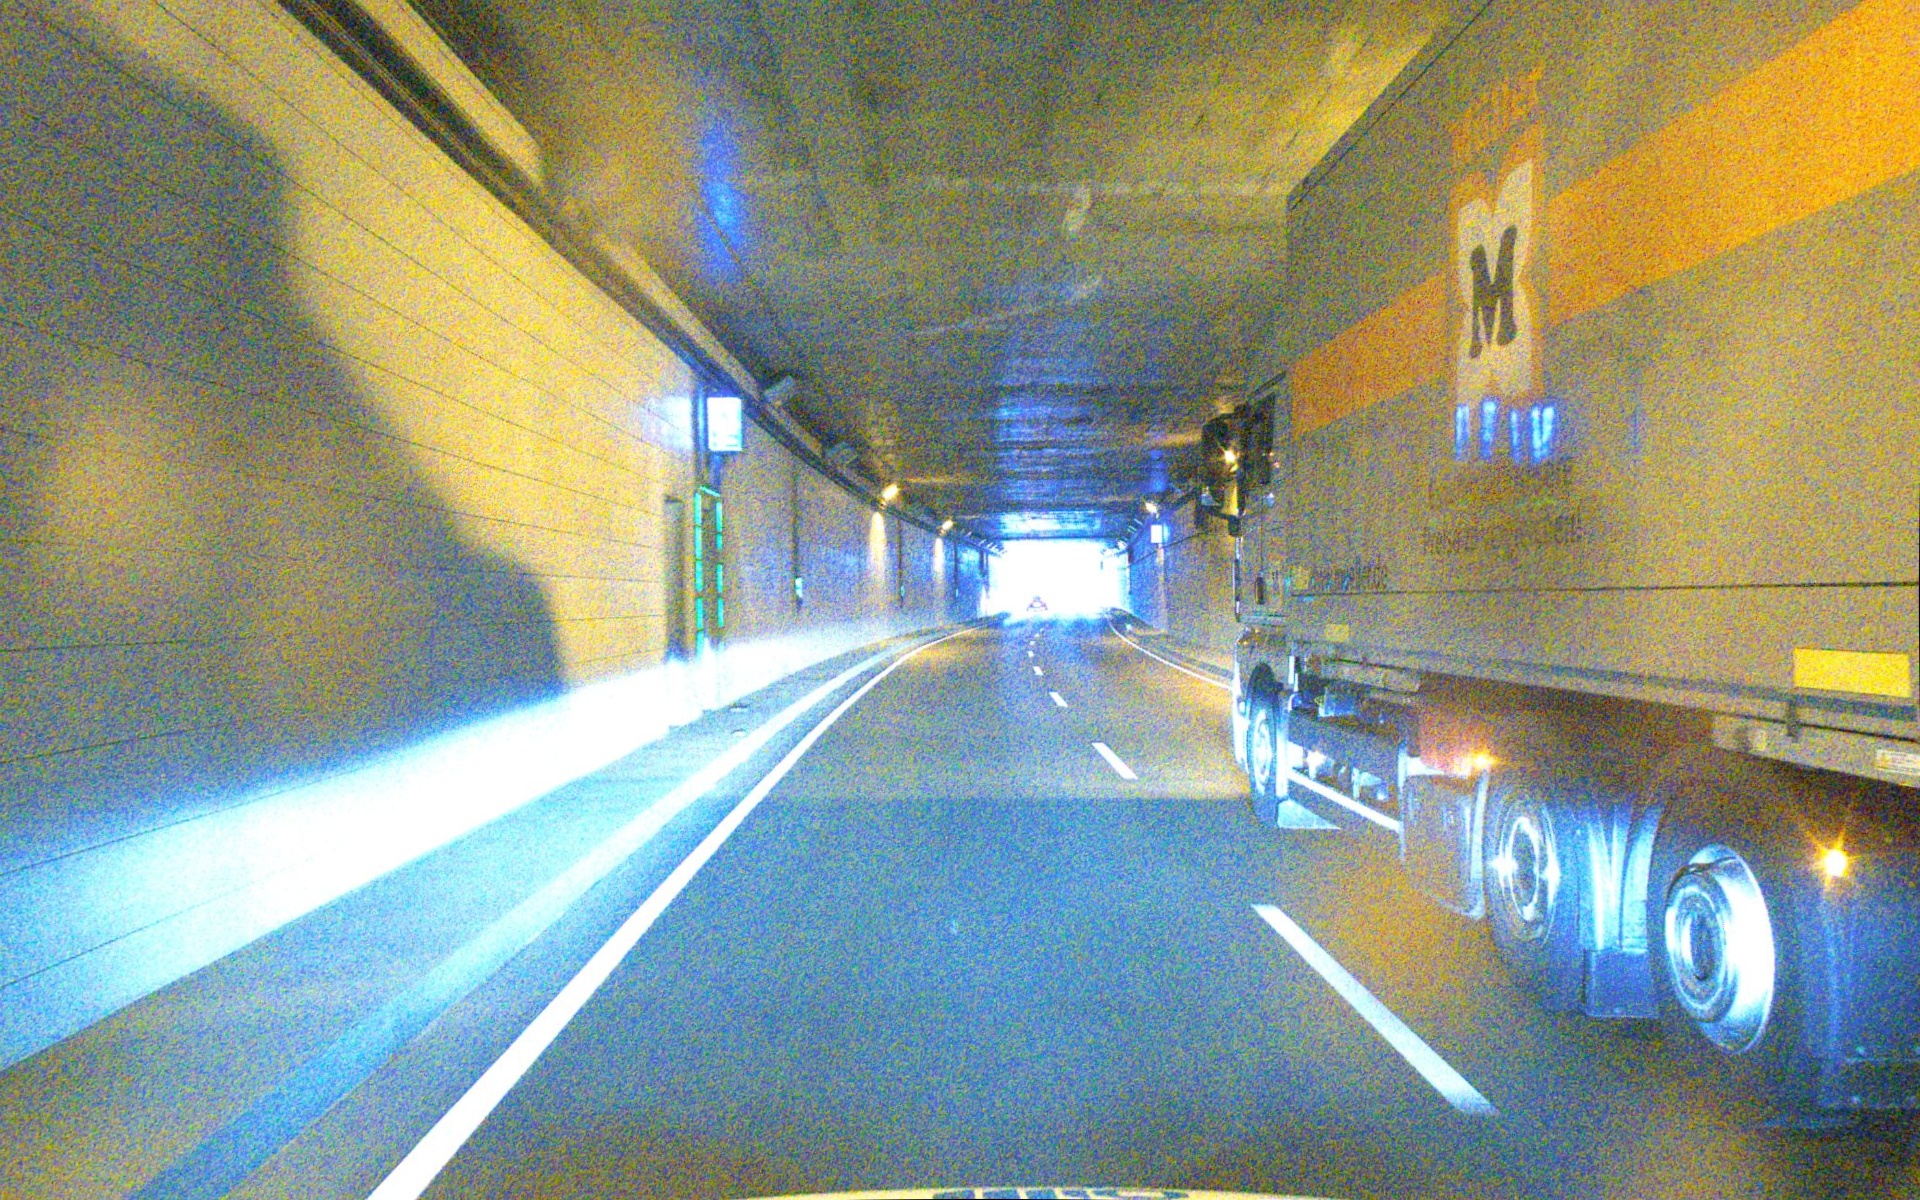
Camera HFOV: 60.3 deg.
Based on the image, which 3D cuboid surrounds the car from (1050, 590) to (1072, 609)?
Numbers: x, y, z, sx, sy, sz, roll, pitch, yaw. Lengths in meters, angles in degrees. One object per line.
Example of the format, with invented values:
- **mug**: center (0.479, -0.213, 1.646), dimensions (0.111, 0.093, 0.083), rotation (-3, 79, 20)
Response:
- **car**: center (9.331, -0.035, 152.855), dimensions (1.831, 1.763, 4.001), rotation (-1, 0, 1)

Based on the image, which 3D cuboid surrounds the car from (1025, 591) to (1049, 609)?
- **car**: center (6.296, -0.030, 134.440), dimensions (1.802, 1.413, 4.002), rotation (-1, 0, 5)

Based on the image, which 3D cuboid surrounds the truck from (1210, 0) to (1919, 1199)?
- **truck**: center (3.397, -0.502, 7.523), dimensions (2.830, 3.982, 9.907), rotation (-1, 0, -1)
